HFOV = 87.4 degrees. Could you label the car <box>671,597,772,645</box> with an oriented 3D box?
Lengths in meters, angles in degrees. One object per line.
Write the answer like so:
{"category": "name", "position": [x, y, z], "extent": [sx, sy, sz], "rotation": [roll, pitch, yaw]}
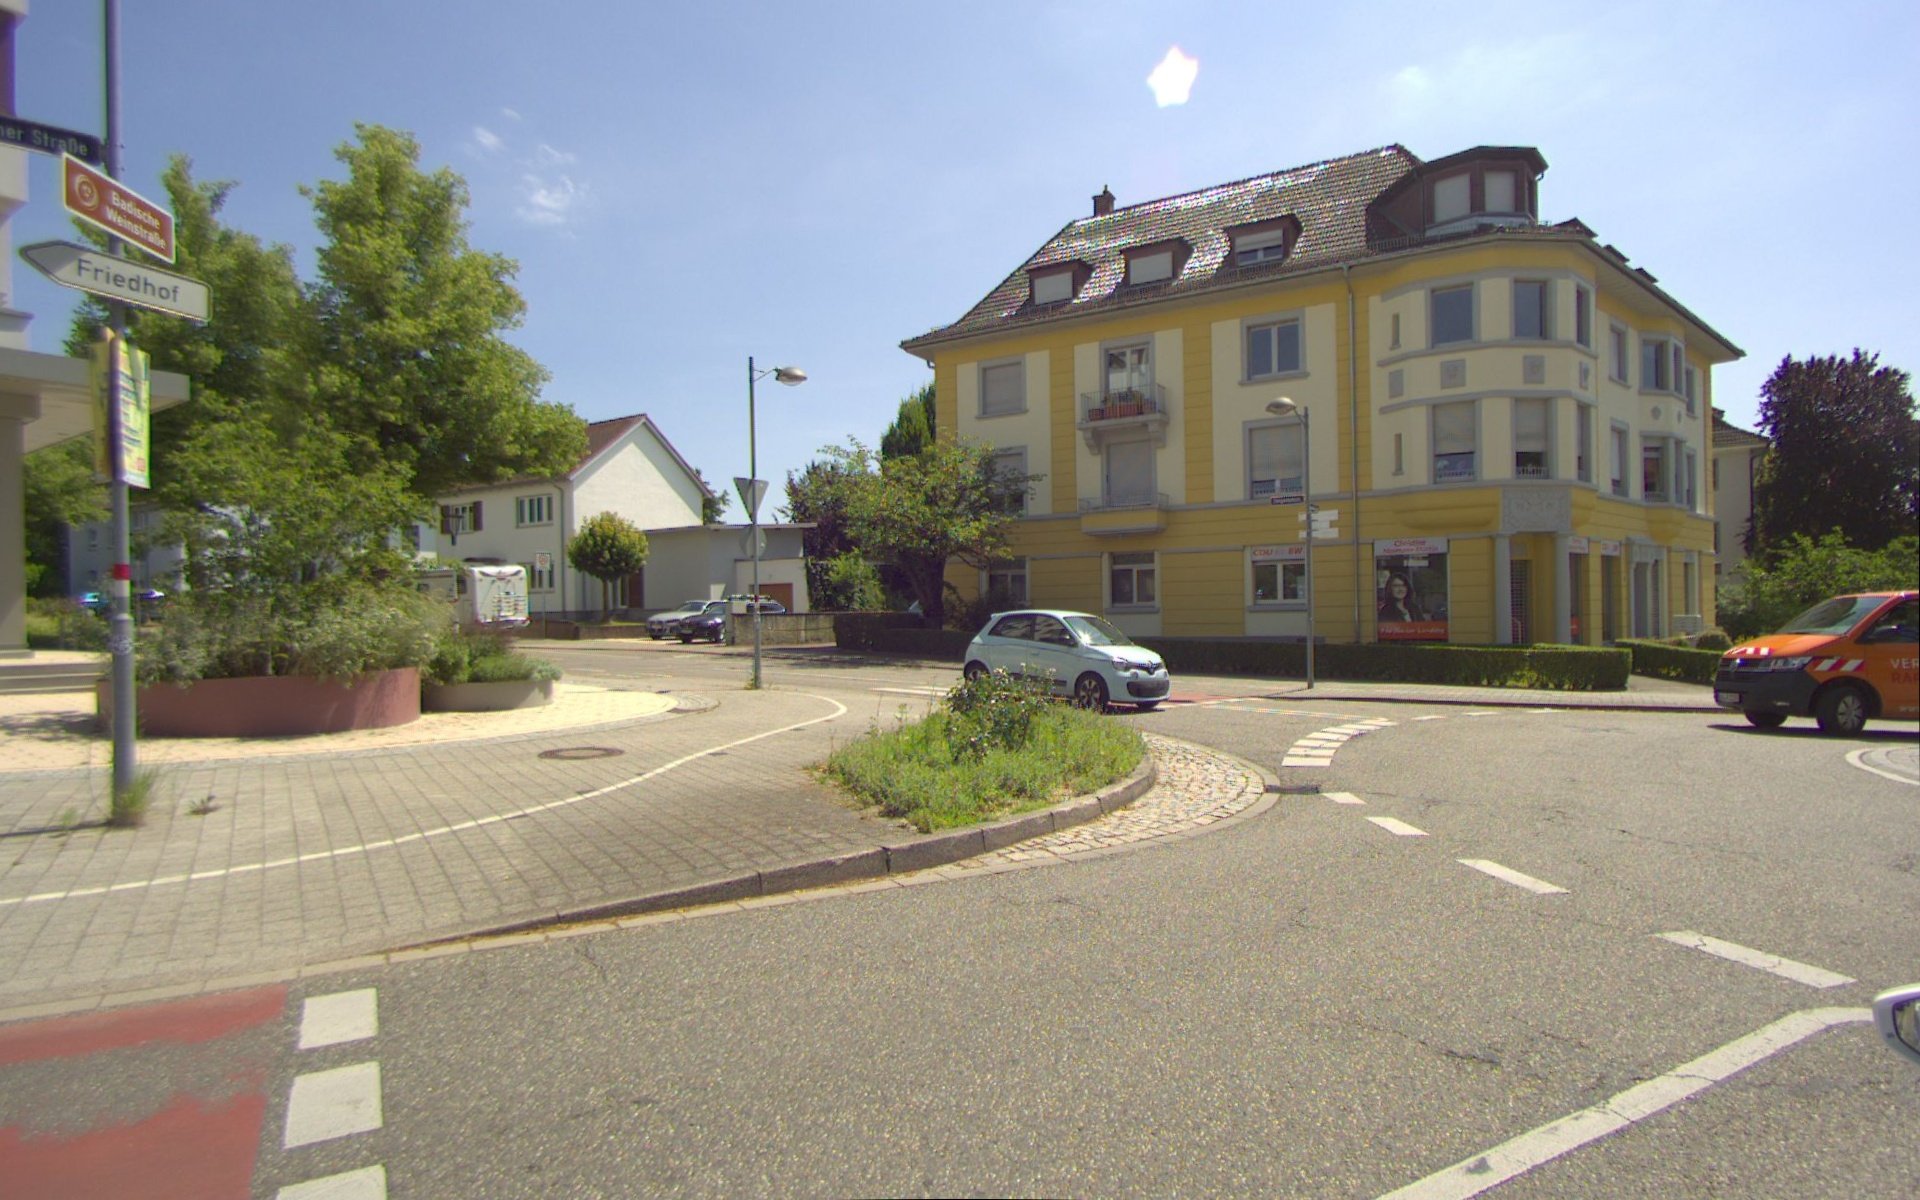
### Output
{"category": "car", "position": [-8.423, 0.733, 35.807], "extent": [1.721, 1.607, 3.993], "rotation": [0, -1, 17]}

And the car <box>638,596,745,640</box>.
{"category": "car", "position": [-10.226, 0.672, 38.517], "extent": [1.724, 1.607, 3.987], "rotation": [0, -1, 27]}

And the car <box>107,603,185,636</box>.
{"category": "car", "position": [-39.585, 0.914, 48.822], "extent": [3.923, 1.525, 1.752], "rotation": [0, -1, 32]}

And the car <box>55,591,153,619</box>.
{"category": "car", "position": [-51.734, 0.327, 60.783], "extent": [1.782, 1.630, 4.117], "rotation": [1, -1, 24]}

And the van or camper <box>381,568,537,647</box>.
{"category": "van or camper", "position": [-18.284, 0.195, 36.567], "extent": [5.781, 2.674, 2.269], "rotation": [0, 2, 31]}

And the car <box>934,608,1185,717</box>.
{"category": "car", "position": [1.577, 0.945, 16.968], "extent": [4.105, 1.545, 1.650], "rotation": [1, 1, 44]}

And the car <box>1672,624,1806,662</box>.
{"category": "car", "position": [33.921, 1.861, 43.918], "extent": [4.338, 1.529, 1.997], "rotation": [0, -1, 29]}

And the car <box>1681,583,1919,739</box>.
{"category": "car", "position": [13.070, 0.785, 13.668], "extent": [4.919, 1.985, 1.951], "rotation": [0, 0, 13]}
